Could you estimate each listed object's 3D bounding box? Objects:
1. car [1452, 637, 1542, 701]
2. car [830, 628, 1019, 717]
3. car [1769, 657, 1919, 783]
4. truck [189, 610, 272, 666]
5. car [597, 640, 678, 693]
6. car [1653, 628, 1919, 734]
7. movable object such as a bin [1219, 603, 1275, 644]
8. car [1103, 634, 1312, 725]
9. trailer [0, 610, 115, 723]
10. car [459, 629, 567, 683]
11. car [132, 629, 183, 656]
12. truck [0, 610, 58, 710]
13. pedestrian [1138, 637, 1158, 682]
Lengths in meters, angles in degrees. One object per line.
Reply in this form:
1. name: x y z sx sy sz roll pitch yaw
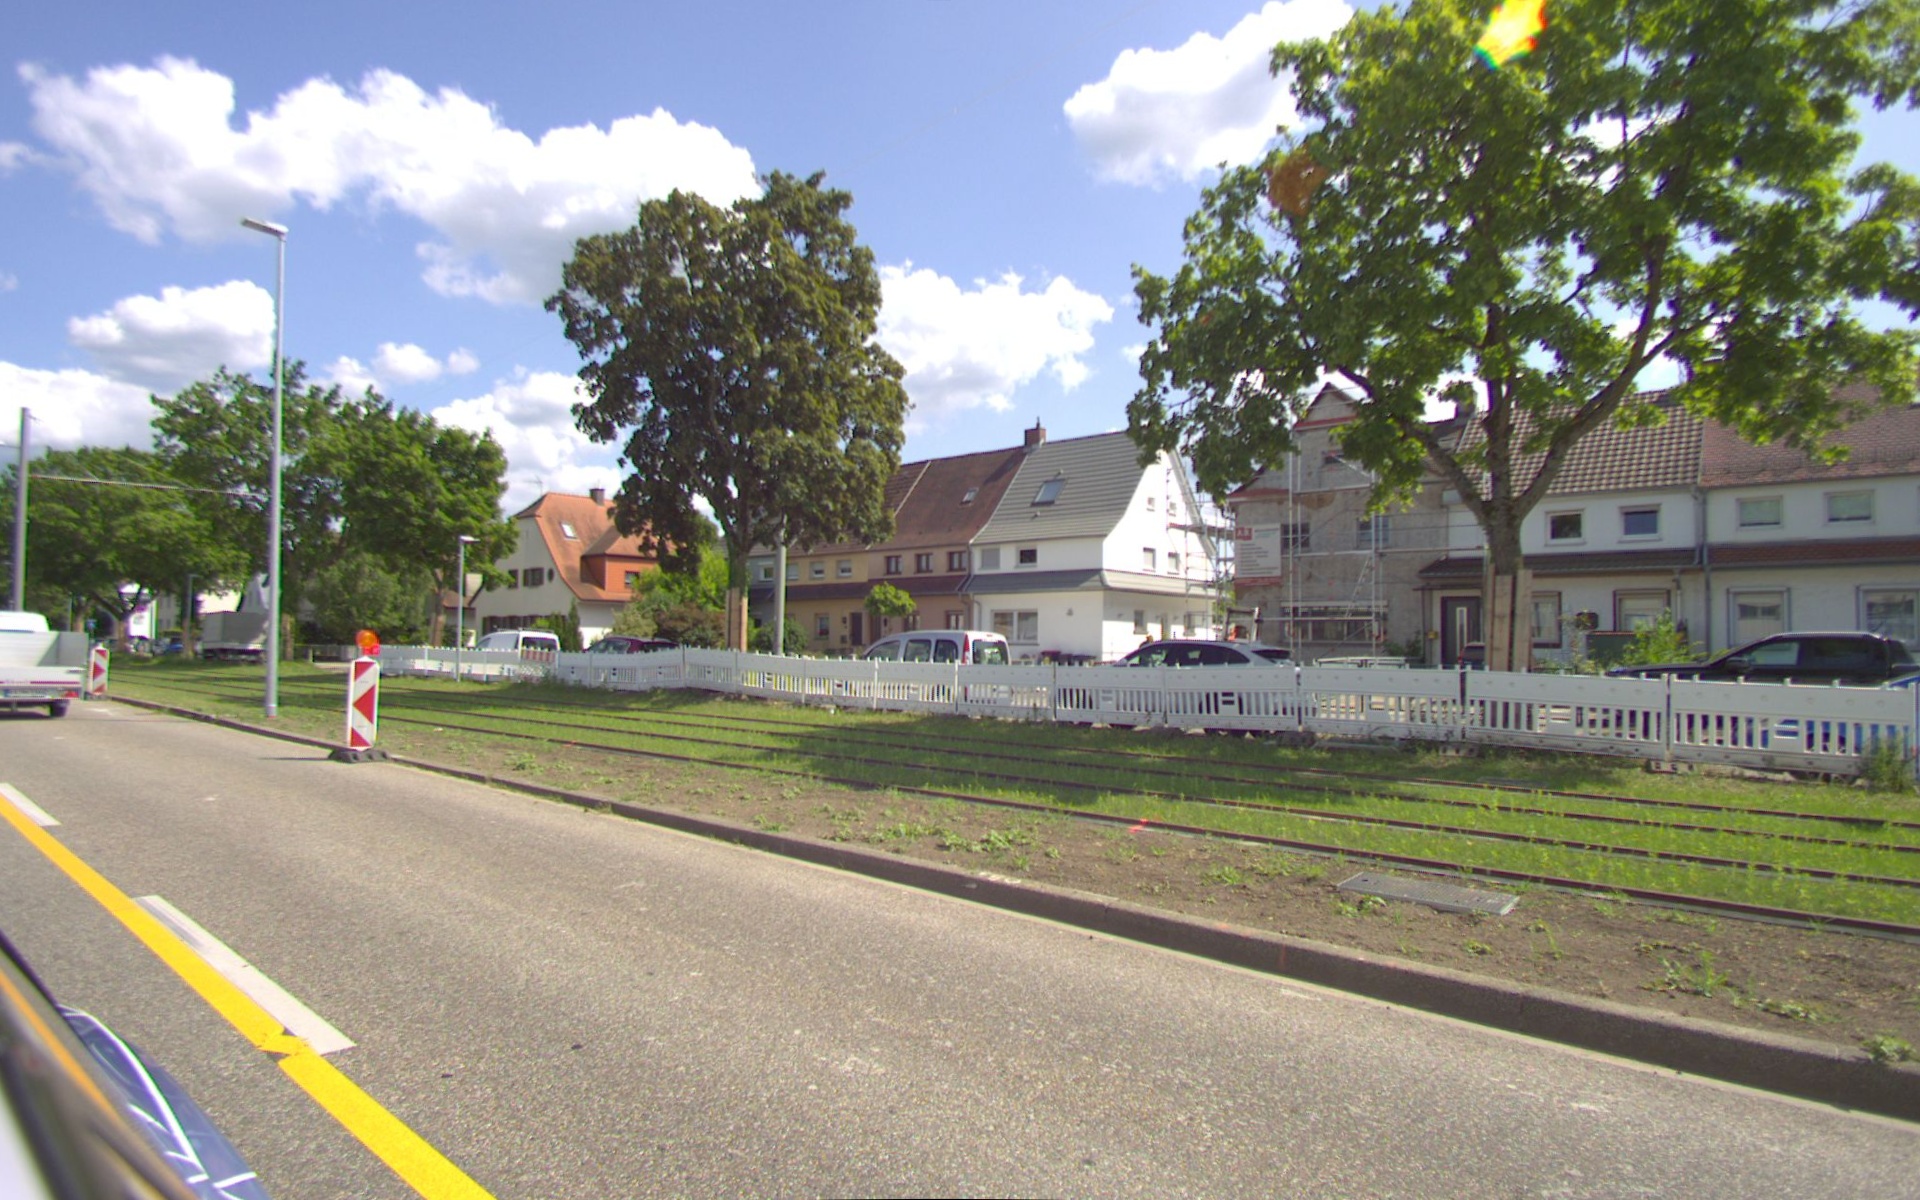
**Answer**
1. car: 13.292 1.660 24.987 1.286 1.390 2.776 -1 -1 43
2. car: -0.802 1.462 21.193 3.897 1.664 1.606 -1 -4 41
3. car: 11.006 1.320 11.196 3.166 1.335 1.327 -2 -3 39
4. truck: -39.331 1.995 54.518 5.948 2.826 2.340 -1 -1 41
5. car: -8.857 1.808 27.733 2.450 1.358 1.060 -1 -4 44
6. car: 12.962 1.210 15.867 3.308 1.507 1.369 -2 -3 41
7. movable object such as a bin: 8.676 0.693 30.667 1.441 1.207 1.892 -1 -1 11
8. car: 4.070 1.293 16.870 3.112 1.388 1.336 -3 -5 41
9. trailer: -17.579 1.147 18.699 5.482 1.849 2.041 -1 -5 41
10. car: -14.653 1.809 33.087 3.998 1.638 1.636 -1 -4 41
11. car: -48.113 2.522 60.660 3.928 1.524 1.651 -1 -1 41
12. truck: -20.584 1.172 21.110 5.112 1.924 1.801 -1 -4 40
13. pedestrian: 5.949 1.875 32.021 0.471 1.387 0.418 -1 -1 40
